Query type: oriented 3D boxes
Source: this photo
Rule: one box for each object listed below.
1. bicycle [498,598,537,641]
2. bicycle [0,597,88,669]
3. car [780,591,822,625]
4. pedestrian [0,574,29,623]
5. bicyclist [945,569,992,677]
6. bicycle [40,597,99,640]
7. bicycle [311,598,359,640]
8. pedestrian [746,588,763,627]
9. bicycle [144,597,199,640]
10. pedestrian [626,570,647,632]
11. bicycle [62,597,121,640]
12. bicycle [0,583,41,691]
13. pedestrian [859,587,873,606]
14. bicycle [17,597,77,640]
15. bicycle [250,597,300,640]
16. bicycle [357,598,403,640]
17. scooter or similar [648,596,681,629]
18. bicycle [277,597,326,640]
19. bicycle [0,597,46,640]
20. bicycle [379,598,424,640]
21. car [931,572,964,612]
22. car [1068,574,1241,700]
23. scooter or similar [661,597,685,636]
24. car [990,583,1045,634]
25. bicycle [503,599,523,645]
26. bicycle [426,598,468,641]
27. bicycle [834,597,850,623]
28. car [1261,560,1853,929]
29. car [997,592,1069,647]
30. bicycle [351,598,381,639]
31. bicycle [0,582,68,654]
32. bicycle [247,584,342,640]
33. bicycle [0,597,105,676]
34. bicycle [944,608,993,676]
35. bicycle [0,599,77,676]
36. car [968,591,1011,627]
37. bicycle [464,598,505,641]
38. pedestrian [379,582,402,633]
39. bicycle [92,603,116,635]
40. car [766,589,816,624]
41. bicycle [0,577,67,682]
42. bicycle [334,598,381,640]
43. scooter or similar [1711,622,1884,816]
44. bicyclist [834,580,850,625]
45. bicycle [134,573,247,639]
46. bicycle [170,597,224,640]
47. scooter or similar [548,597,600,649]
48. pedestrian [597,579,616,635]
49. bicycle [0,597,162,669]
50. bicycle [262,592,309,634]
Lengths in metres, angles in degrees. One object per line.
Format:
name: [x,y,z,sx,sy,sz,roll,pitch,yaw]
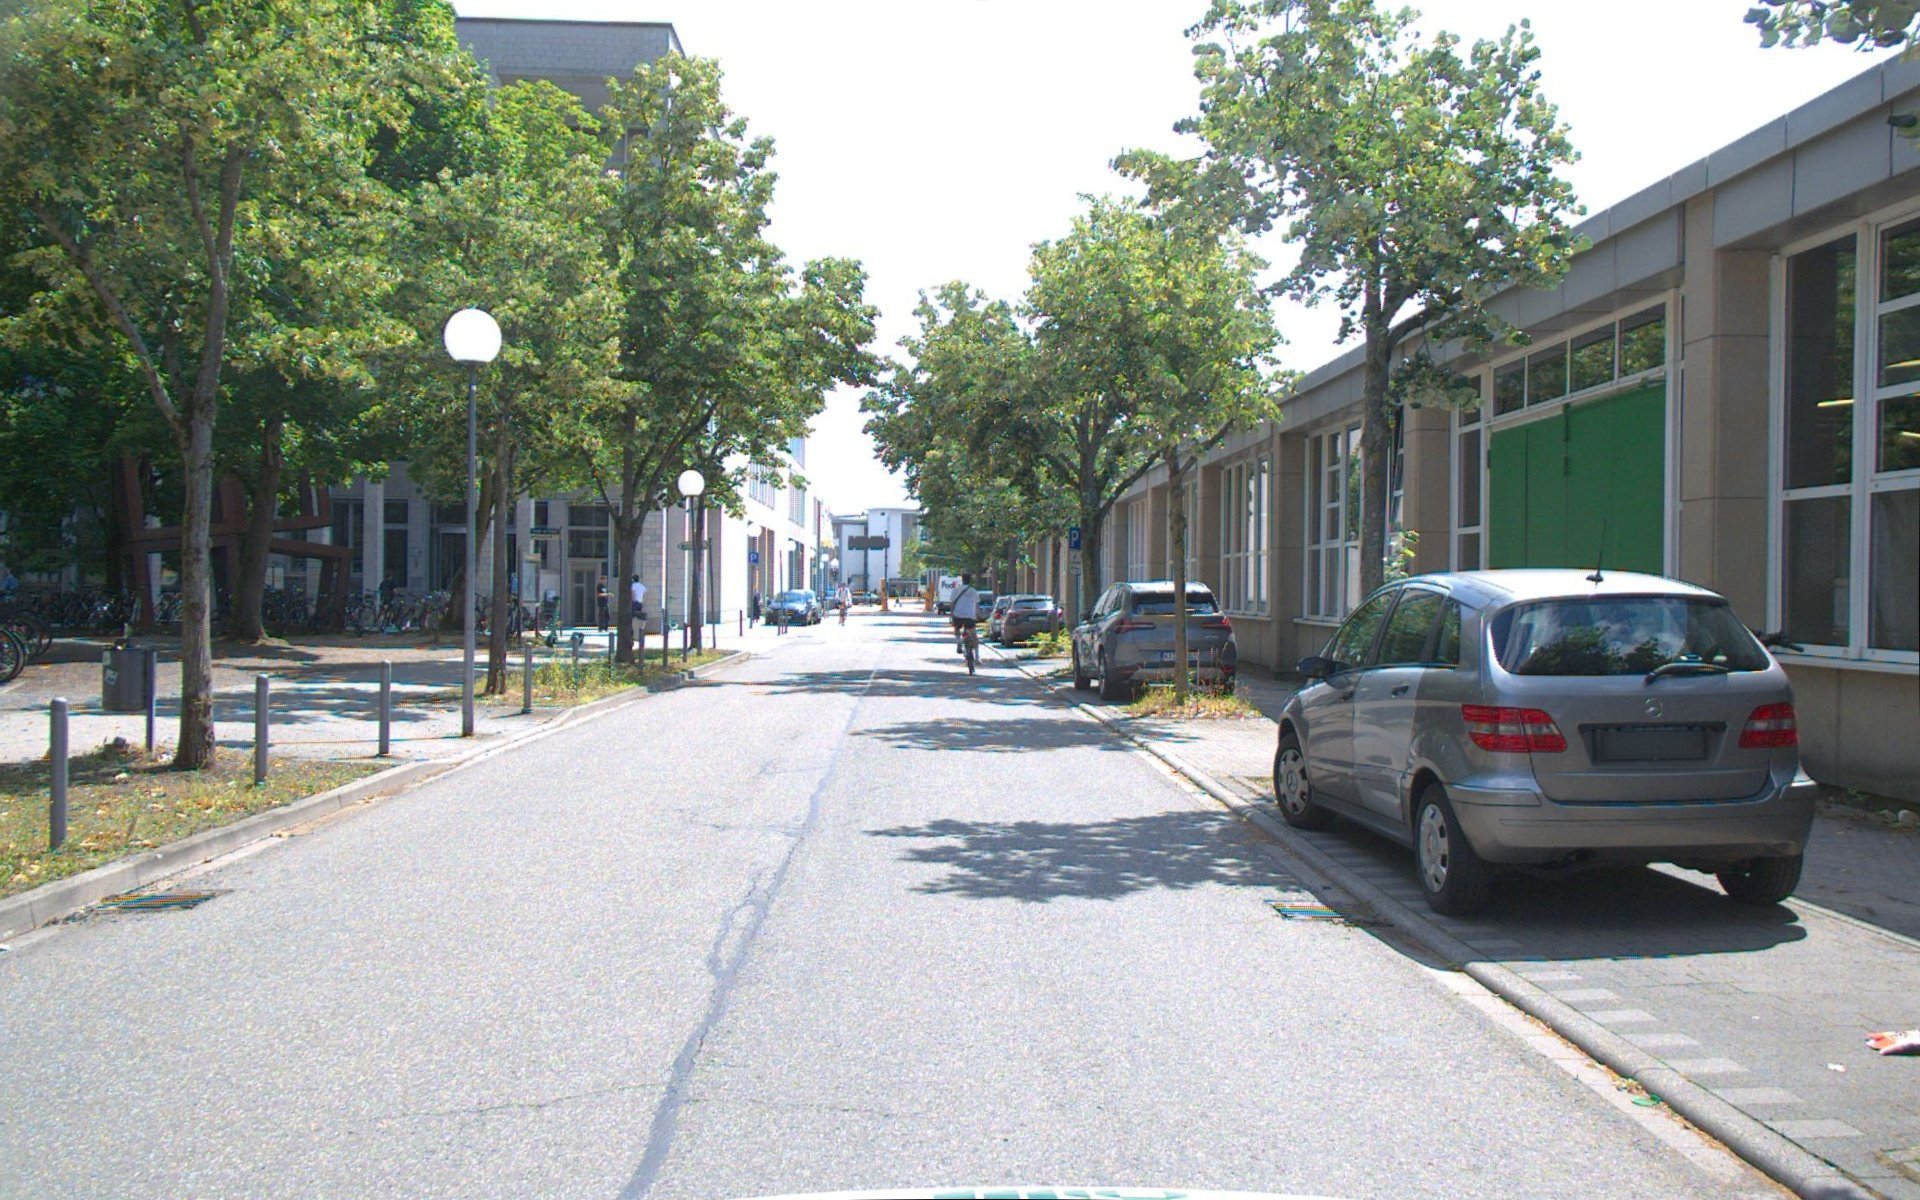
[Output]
bicycle: [-11.990,0.511,44.843,0.541,1.105,1.972,2,0,-2]
bicycle: [-13.927,0.478,24.073,2.126,1.026,0.670,1,0,-33]
car: [-7.352,0.354,76.649,1.598,1.511,4.176,1,0,-1]
pedestrian: [-30.610,-0.058,53.452,0.690,1.567,0.717,1,0,-11]
bicyclist: [0.157,0.440,32.013,0.856,2.049,0.849,1,0,-1]
bicycle: [-24.020,0.491,44.641,0.541,1.105,1.972,2,0,-2]
bicycle: [-16.932,0.505,44.853,0.541,1.105,1.972,2,0,-2]
pedestrian: [-9.088,0.326,73.145,0.638,1.731,0.887,1,0,-12]
bicycle: [-21.295,0.496,44.719,0.541,1.105,1.972,2,0,-2]
pedestrian: [-10.269,0.031,52.517,0.408,1.975,0.656,2,0,-31]
bicycle: [-23.368,0.488,44.524,0.541,1.105,1.972,2,0,-2]
bicycle: [-12.111,0.417,19.564,2.023,1.256,0.804,2,0,-20]
pedestrian: [-10.390,-0.396,182.775,1.389,2.144,0.994,1,0,-5]
bicycle: [-24.664,0.492,44.722,0.541,1.105,1.972,2,0,-2]
bicycle: [-18.439,0.495,44.564,0.541,1.105,1.972,2,0,-2]
bicycle: [-15.695,0.505,44.798,0.541,1.105,1.972,2,0,-2]
scooter or similar: [-11.095,0.465,62.067,0.521,1.231,1.536,1,0,-39]
bicycle: [-17.752,0.497,44.601,0.541,1.105,1.972,2,0,-2]
bicycle: [-25.217,0.476,44.176,0.541,1.105,1.972,2,0,-2]
bicycle: [-15.143,0.508,44.883,0.541,1.105,1.972,2,0,-2]
car: [-0.851,-0.547,110.116,2.042,2.584,4.314,1,0,-2]
car: [2.797,0.525,24.831,1.786,1.693,4.580,-1,-1,-3]
scooter or similar: [-9.545,0.541,55.056,0.445,1.245,1.549,1,0,2]
car: [1.854,0.265,54.121,1.583,1.565,3.779,1,0,-1]
bicycle: [-10.432,0.496,38.619,0.375,1.043,1.809,1,0,-14]
bicycle: [-14.027,0.520,45.261,0.541,1.105,1.972,2,0,-2]
bicycle: [-5.366,0.434,75.298,0.671,1.149,1.887,0,0,-4]
car: [3.032,0.625,9.395,1.670,1.601,4.138,-1,0,-3]
car: [2.088,0.539,48.243,1.745,1.502,4.460,-1,0,-2]
bicycle: [-14.478,0.440,40.303,0.467,0.982,1.651,1,0,-13]
bicycle: [-17.022,0.299,28.394,2.886,1.242,0.868,1,0,-45]
bicycle: [-15.728,0.272,39.111,1.997,1.275,0.580,-1,1,-35]
bicycle: [-12.522,0.477,21.854,2.126,1.026,0.670,1,0,-32]
bicycle: [0.152,0.788,31.992,0.864,1.220,2.749,1,0,-1]
bicycle: [-13.195,0.509,22.698,1.867,1.026,0.670,1,0,-32]
car: [1.341,0.390,76.308,1.821,1.601,3.999,-1,0,-1]
bicycle: [-12.928,0.514,45.003,0.541,1.105,1.972,2,0,-2]
pedestrian: [-19.159,0.243,55.653,0.625,1.690,0.689,1,0,-26]
bicycle: [-21.573,0.473,41.670,0.319,0.776,1.541,1,0,-35]
car: [-7.295,0.272,71.602,1.730,1.452,4.234,1,0,0]
bicycle: [-12.317,0.335,20.503,2.023,1.256,0.804,3,0,-20]
bicycle: [-16.289,0.503,44.749,0.541,1.105,1.972,2,0,-2]
scooter or similar: [5.813,0.787,11.555,0.407,1.238,1.493,-1,0,-2]
bicyclist: [-5.376,0.115,75.258,0.697,2.049,1.018,0,0,-4]
bicycle: [-17.587,0.134,37.822,2.264,1.475,0.599,1,0,-35]
bicycle: [-20.521,0.492,44.526,0.541,1.105,1.972,2,0,-2]
scooter or similar: [-9.134,0.537,39.202,0.333,1.196,1.324,1,0,33]
pedestrian: [-11.369,0.227,53.211,0.437,1.806,0.446,1,0,-32]
bicycle: [-14.474,0.526,26.698,2.731,1.105,0.868,1,0,-45]
bicycle: [-17.184,0.321,42.180,0.466,1.050,1.850,1,0,-1]
